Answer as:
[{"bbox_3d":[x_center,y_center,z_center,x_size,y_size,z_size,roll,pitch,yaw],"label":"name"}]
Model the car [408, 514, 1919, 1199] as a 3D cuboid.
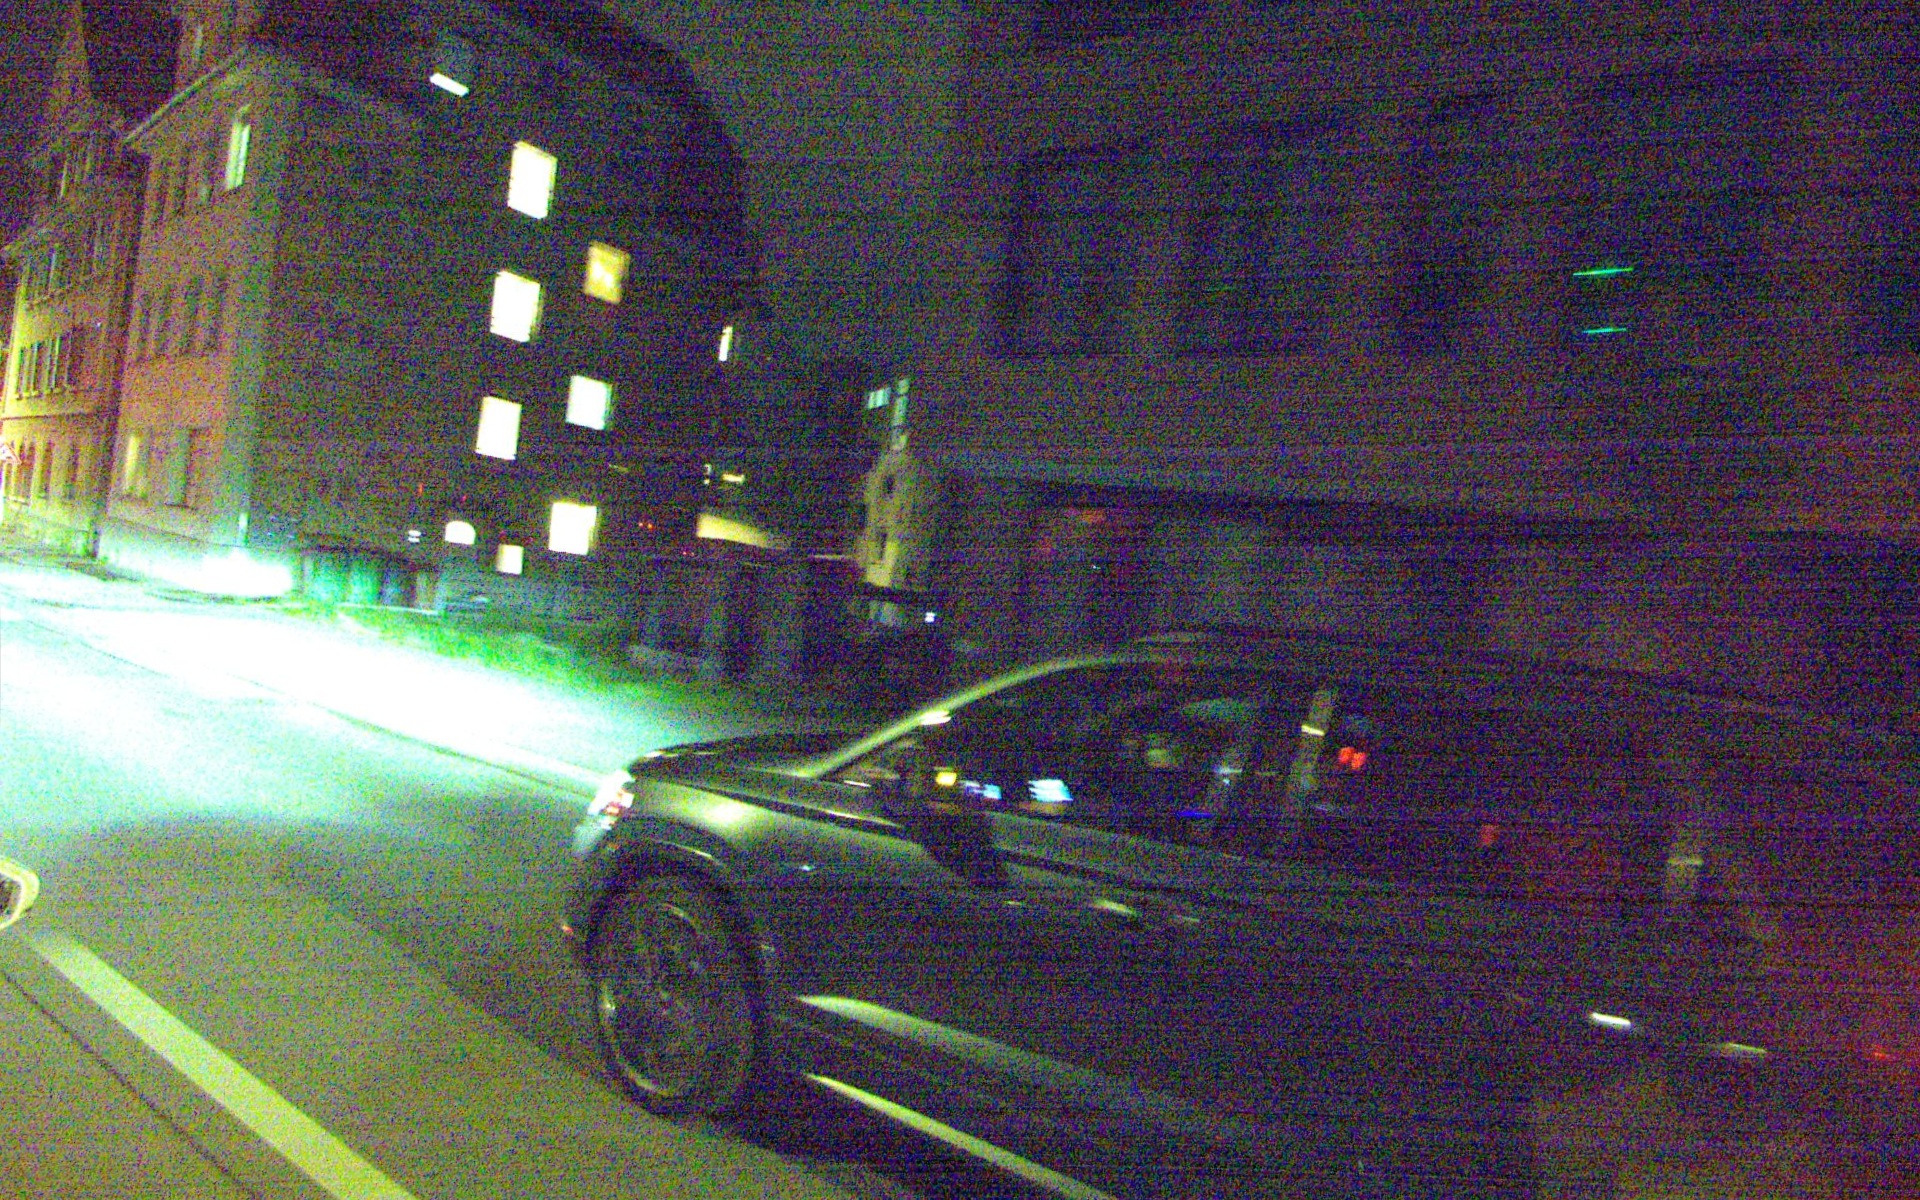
[{"bbox_3d":[0.411,0.803,3.079,4.158,1.629,1.674,7,-2,31],"label":"car"}]
